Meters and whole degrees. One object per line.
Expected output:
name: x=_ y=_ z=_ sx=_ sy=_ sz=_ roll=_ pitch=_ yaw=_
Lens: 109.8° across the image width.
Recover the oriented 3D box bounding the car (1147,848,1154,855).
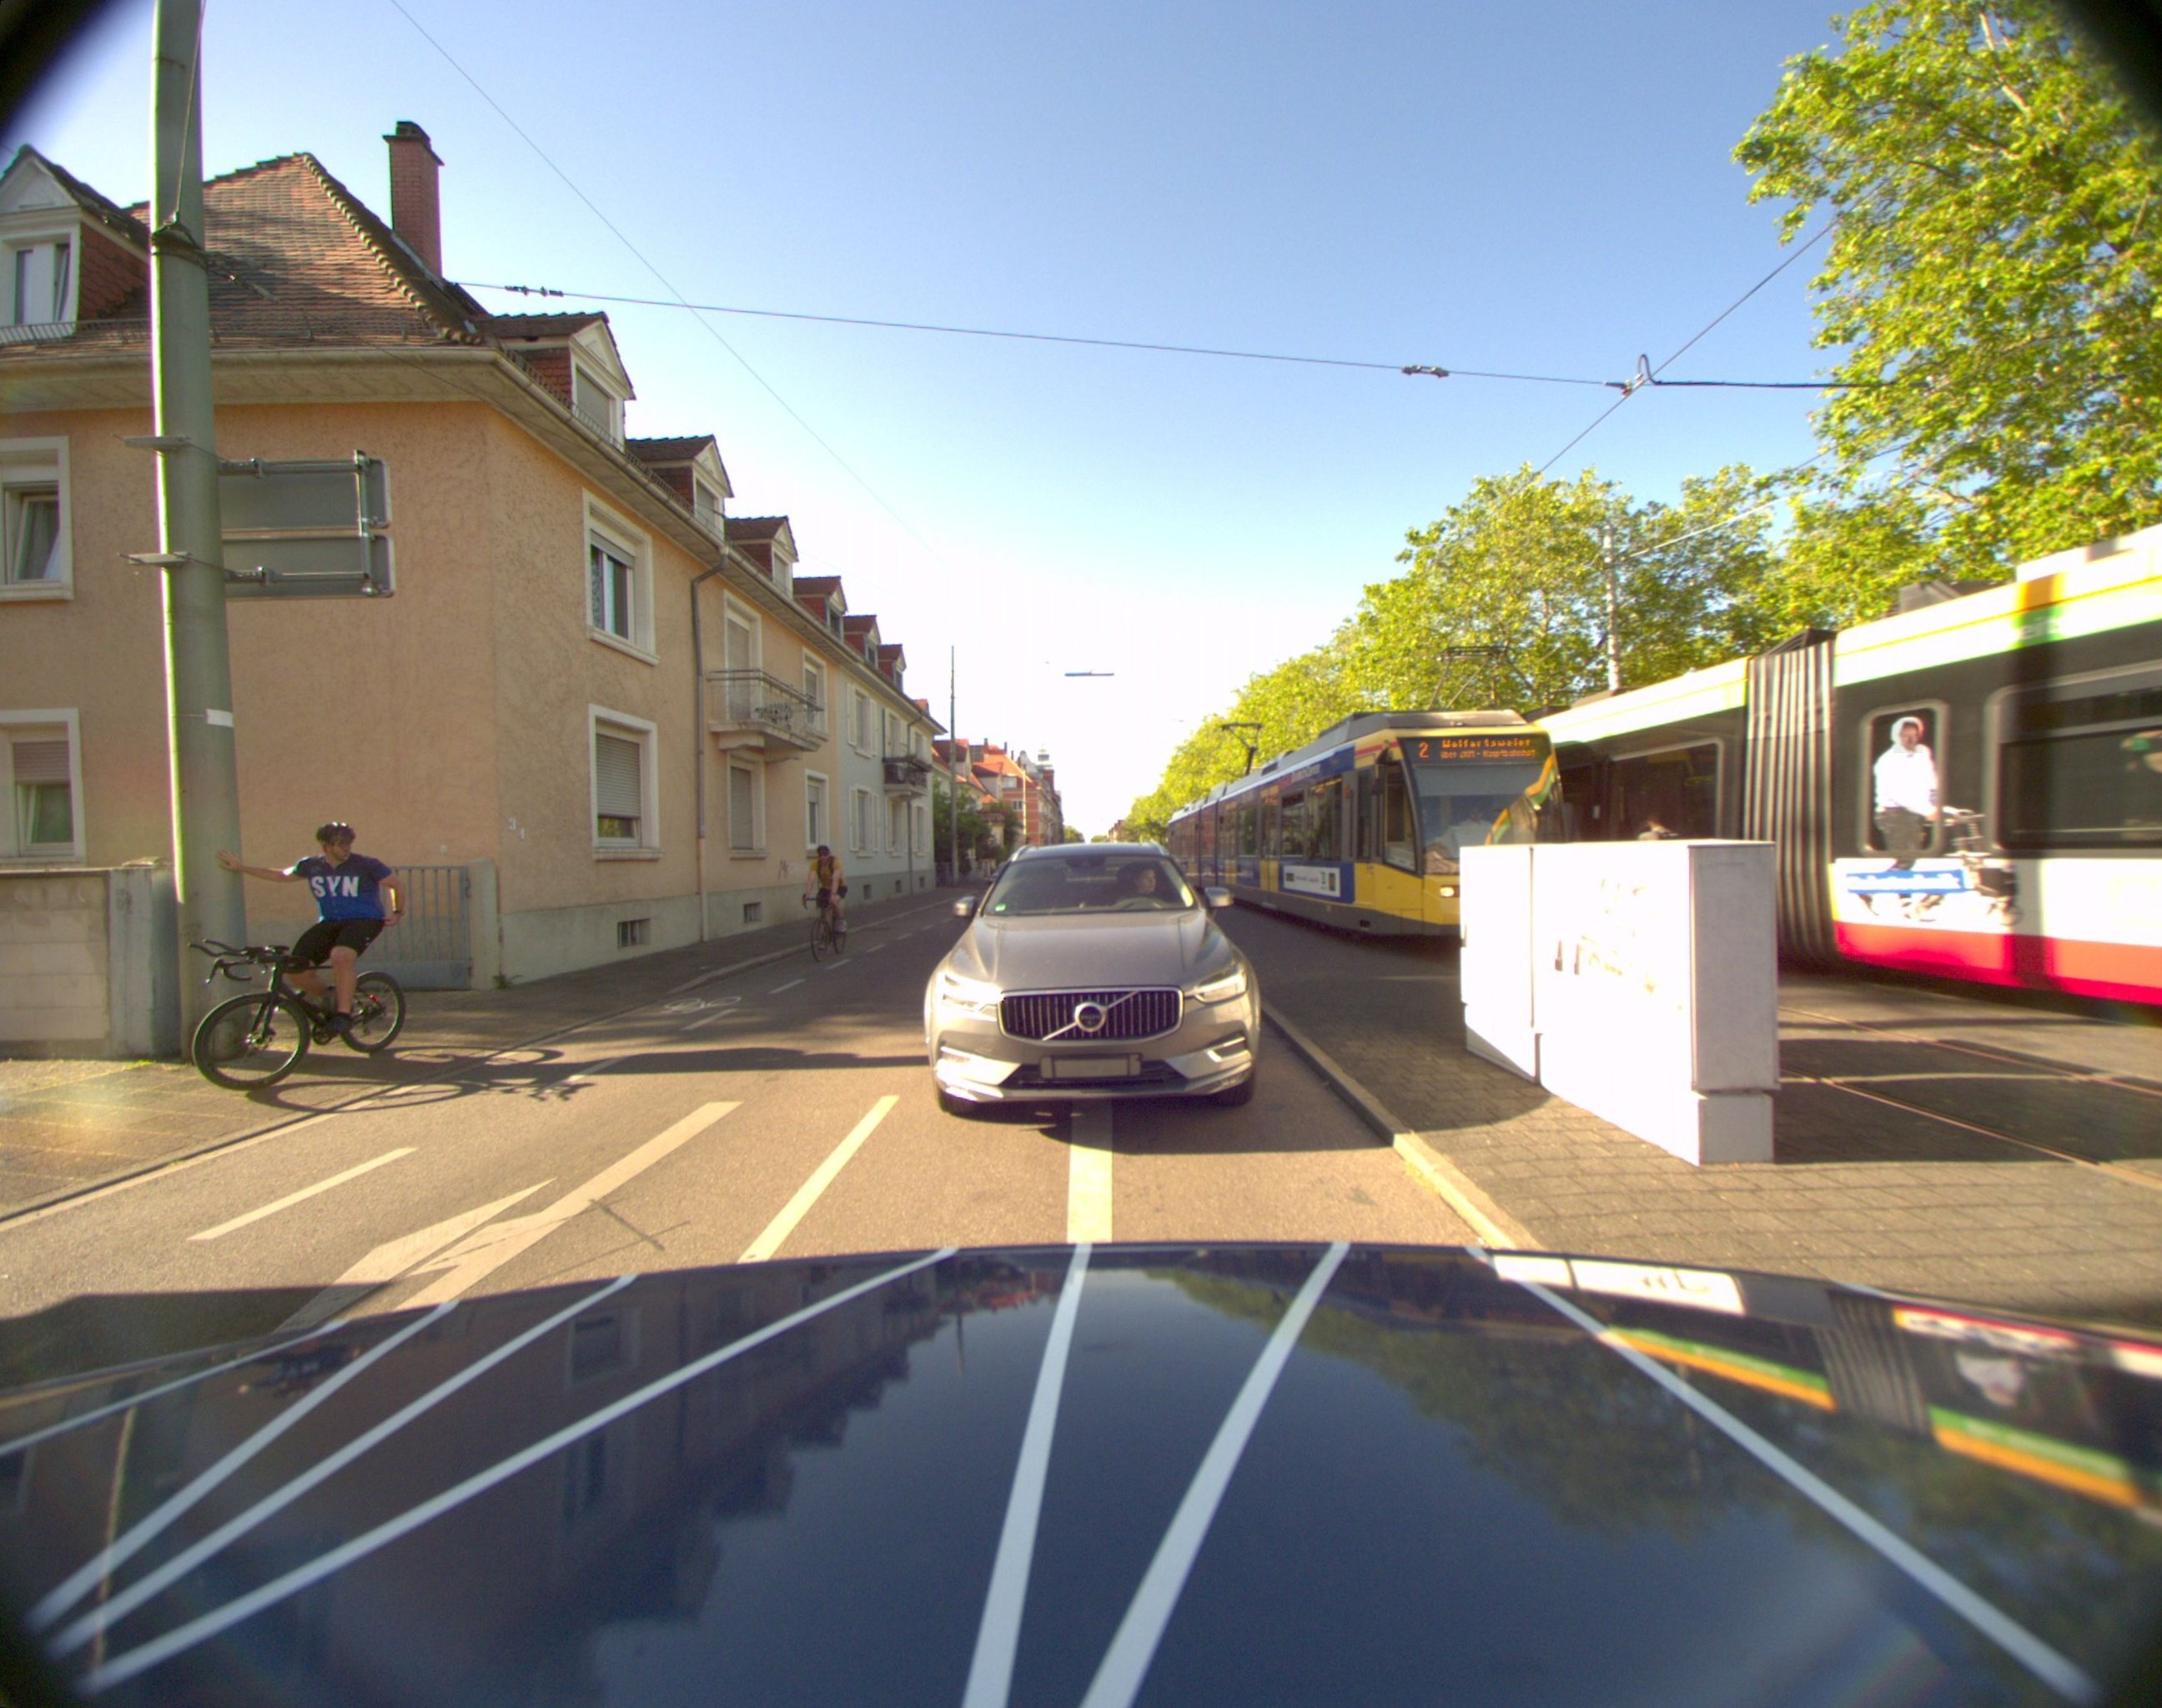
car: x=19.618 y=-0.633 z=214.810 sx=1.695 sy=1.775 sz=3.749 roll=-3 pitch=0 yaw=1

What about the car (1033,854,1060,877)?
car: x=-2.736 y=0.885 z=61.030 sx=1.793 sy=1.673 sz=3.814 roll=-3 pitch=0 yaw=2

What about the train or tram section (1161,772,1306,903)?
train or tram section: x=4.960 y=-0.490 z=27.701 sx=2.717 sy=3.643 sz=12.653 roll=-1 pitch=0 yaw=0

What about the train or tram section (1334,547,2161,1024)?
train or tram section: x=7.919 y=-0.583 z=12.531 sx=2.940 sy=3.791 sz=12.818 roll=-1 pitch=0 yaw=-1

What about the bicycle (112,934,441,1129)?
bicycle: x=-6.025 y=1.260 z=5.868 sx=0.592 sy=1.062 sz=1.775 roll=4 pitch=0 yaw=1

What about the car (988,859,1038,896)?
car: x=-3.236 y=1.084 z=37.046 sx=1.695 sy=1.571 sz=3.815 roll=-3 pitch=0 yaw=5

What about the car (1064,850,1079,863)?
car: x=-1.316 y=0.362 z=107.102 sx=1.793 sy=1.673 sz=3.814 roll=-3 pitch=0 yaw=2

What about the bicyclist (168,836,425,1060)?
bicyclist: x=-6.209 y=0.698 z=6.083 sx=1.051 sy=1.599 sz=0.885 roll=4 pitch=0 yaw=1

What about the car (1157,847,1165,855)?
car: x=20.205 y=-0.737 z=191.417 sx=1.695 sy=1.775 sz=3.749 roll=-3 pitch=0 yaw=1

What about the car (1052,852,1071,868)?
car: x=-2.171 y=0.633 z=85.369 sx=1.793 sy=1.673 sz=3.814 roll=-3 pitch=0 yaw=2

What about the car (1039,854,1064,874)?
car: x=-2.569 y=0.858 z=67.074 sx=1.793 sy=1.673 sz=3.814 roll=-3 pitch=0 yaw=2

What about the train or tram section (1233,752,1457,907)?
train or tram section: x=7.879 y=-0.639 z=25.424 sx=2.939 sy=3.791 sz=13.052 roll=-1 pitch=0 yaw=0

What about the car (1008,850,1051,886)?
car: x=-2.838 y=0.741 z=42.820 sx=1.793 sy=1.828 sz=5.149 roll=-3 pitch=0 yaw=2

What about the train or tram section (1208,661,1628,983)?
train or tram section: x=4.942 y=-0.393 z=15.069 sx=2.717 sy=3.643 sz=12.653 roll=-1 pitch=0 yaw=0

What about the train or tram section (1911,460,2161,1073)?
train or tram section: x=8.644 y=-0.554 z=0.132 sx=2.941 sy=3.792 sz=12.113 roll=-1 pitch=0 yaw=-6

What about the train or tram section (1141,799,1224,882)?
train or tram section: x=5.027 y=-0.628 z=40.325 sx=2.717 sy=3.643 sz=12.653 roll=-1 pitch=0 yaw=0

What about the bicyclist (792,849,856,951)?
bicyclist: x=-4.253 y=0.745 z=12.625 sx=0.685 sy=1.611 sz=0.855 roll=-2 pitch=1 yaw=1

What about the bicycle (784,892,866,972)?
bicycle: x=-4.227 y=1.253 z=12.673 sx=0.685 sy=1.098 sz=1.806 roll=-2 pitch=1 yaw=1

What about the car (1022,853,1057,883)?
car: x=-2.599 y=0.853 z=48.484 sx=1.793 sy=1.673 sz=3.814 roll=-3 pitch=0 yaw=2

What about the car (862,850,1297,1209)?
car: x=0.022 y=0.828 z=5.753 sx=1.998 sy=1.628 sz=4.306 roll=-2 pitch=0 yaw=1

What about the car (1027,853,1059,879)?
car: x=-2.647 y=0.834 z=54.005 sx=1.793 sy=1.673 sz=3.814 roll=-3 pitch=0 yaw=2
